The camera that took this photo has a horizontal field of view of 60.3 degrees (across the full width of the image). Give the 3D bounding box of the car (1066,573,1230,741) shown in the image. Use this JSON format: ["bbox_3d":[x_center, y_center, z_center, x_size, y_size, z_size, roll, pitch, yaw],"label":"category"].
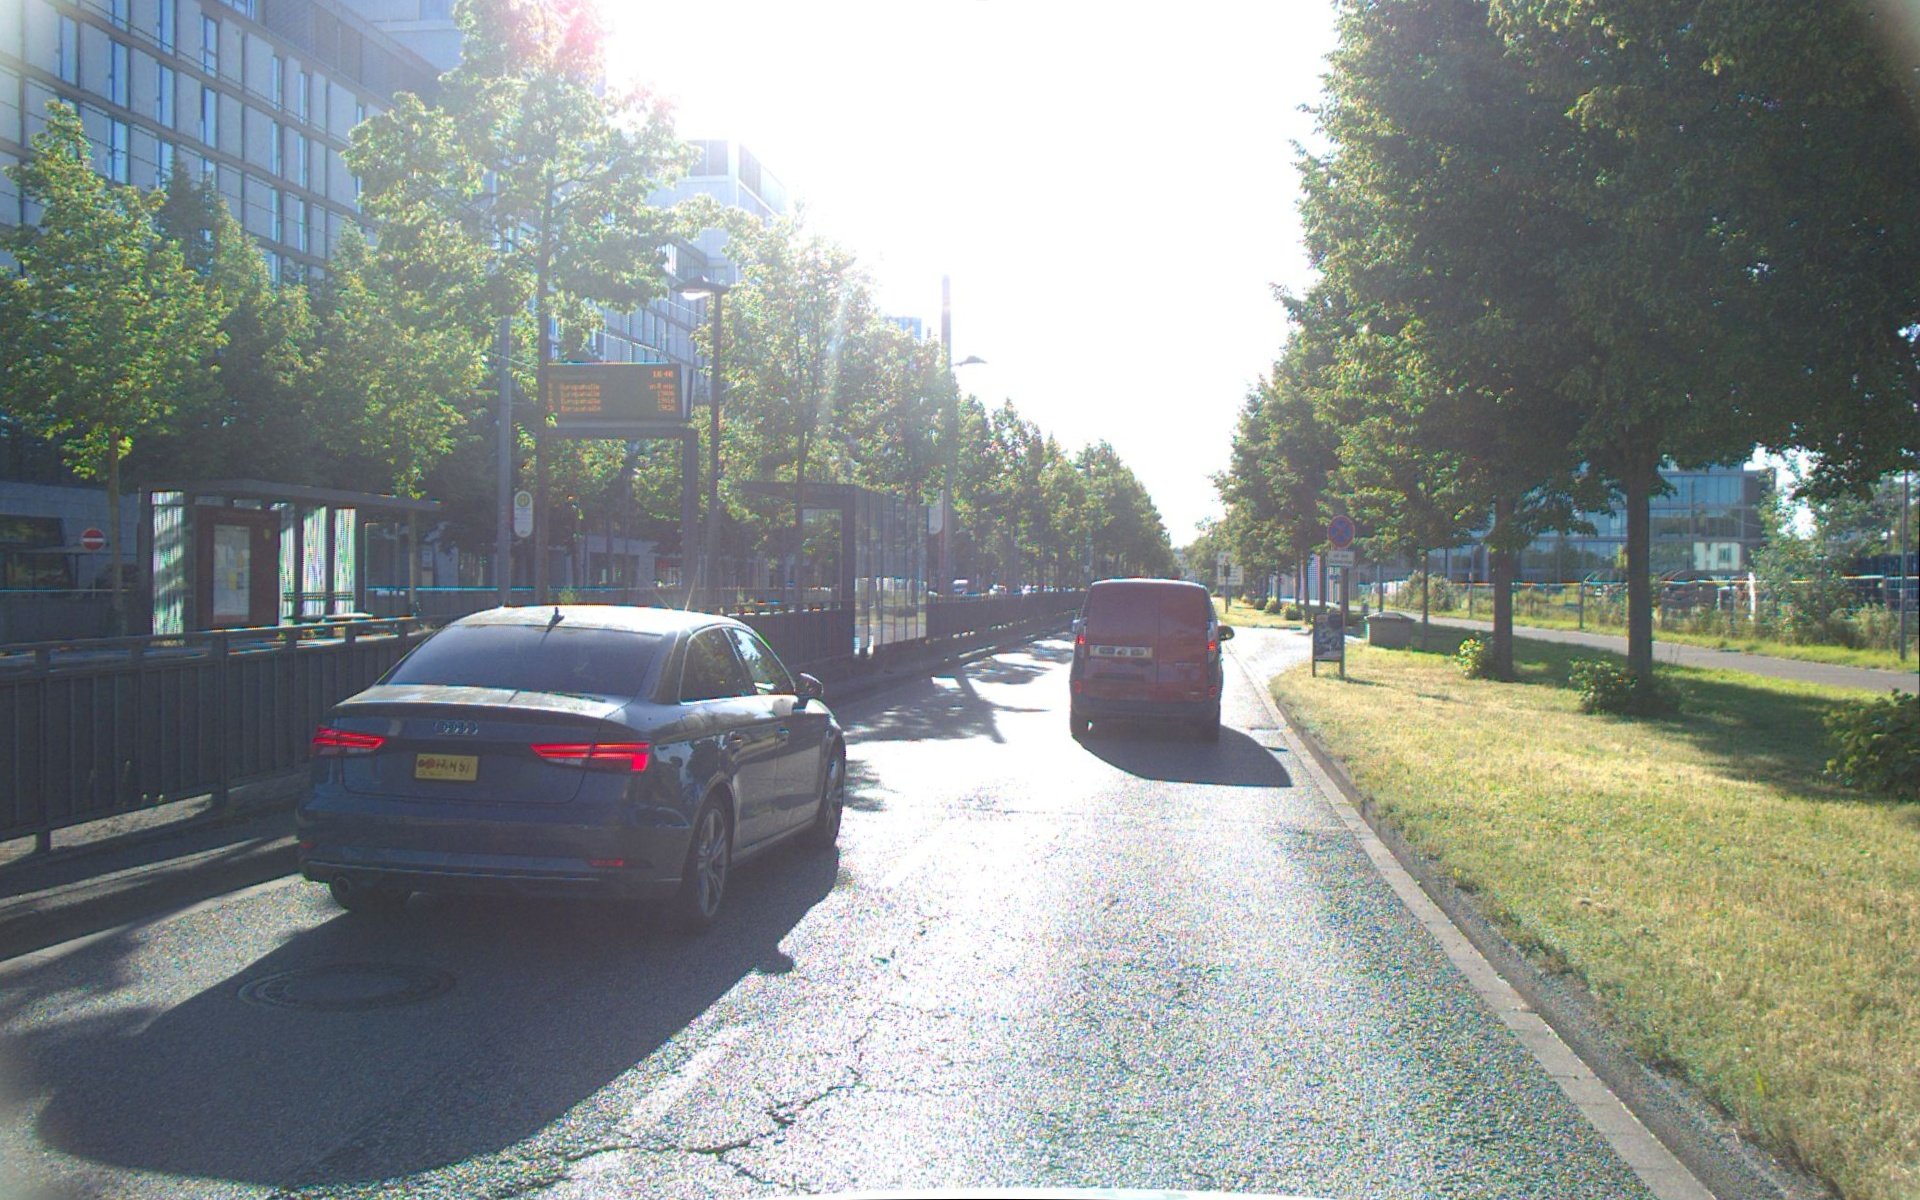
[{"bbox_3d":[2.276,0.617,20.187,1.759,1.808,4.003,1,0,6],"label":"car"}]

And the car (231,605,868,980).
[{"bbox_3d":[-1.721,0.748,8.443,1.684,1.390,4.149,1,0,8],"label":"car"}]

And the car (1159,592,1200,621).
[{"bbox_3d":[10.751,0.319,81.212,1.901,1.371,4.003,0,0,6],"label":"car"}]

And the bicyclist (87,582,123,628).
[{"bbox_3d":[-28.103,0.158,54.368,0.705,1.489,0.832,1,1,10],"label":"bicyclist"}]

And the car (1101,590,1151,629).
[{"bbox_3d":[6.526,0.351,64.871,1.901,1.466,4.003,0,0,6],"label":"car"}]

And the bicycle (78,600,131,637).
[{"bbox_3d":[-28.111,0.599,54.375,0.717,1.139,1.572,1,1,11],"label":"bicycle"}]
